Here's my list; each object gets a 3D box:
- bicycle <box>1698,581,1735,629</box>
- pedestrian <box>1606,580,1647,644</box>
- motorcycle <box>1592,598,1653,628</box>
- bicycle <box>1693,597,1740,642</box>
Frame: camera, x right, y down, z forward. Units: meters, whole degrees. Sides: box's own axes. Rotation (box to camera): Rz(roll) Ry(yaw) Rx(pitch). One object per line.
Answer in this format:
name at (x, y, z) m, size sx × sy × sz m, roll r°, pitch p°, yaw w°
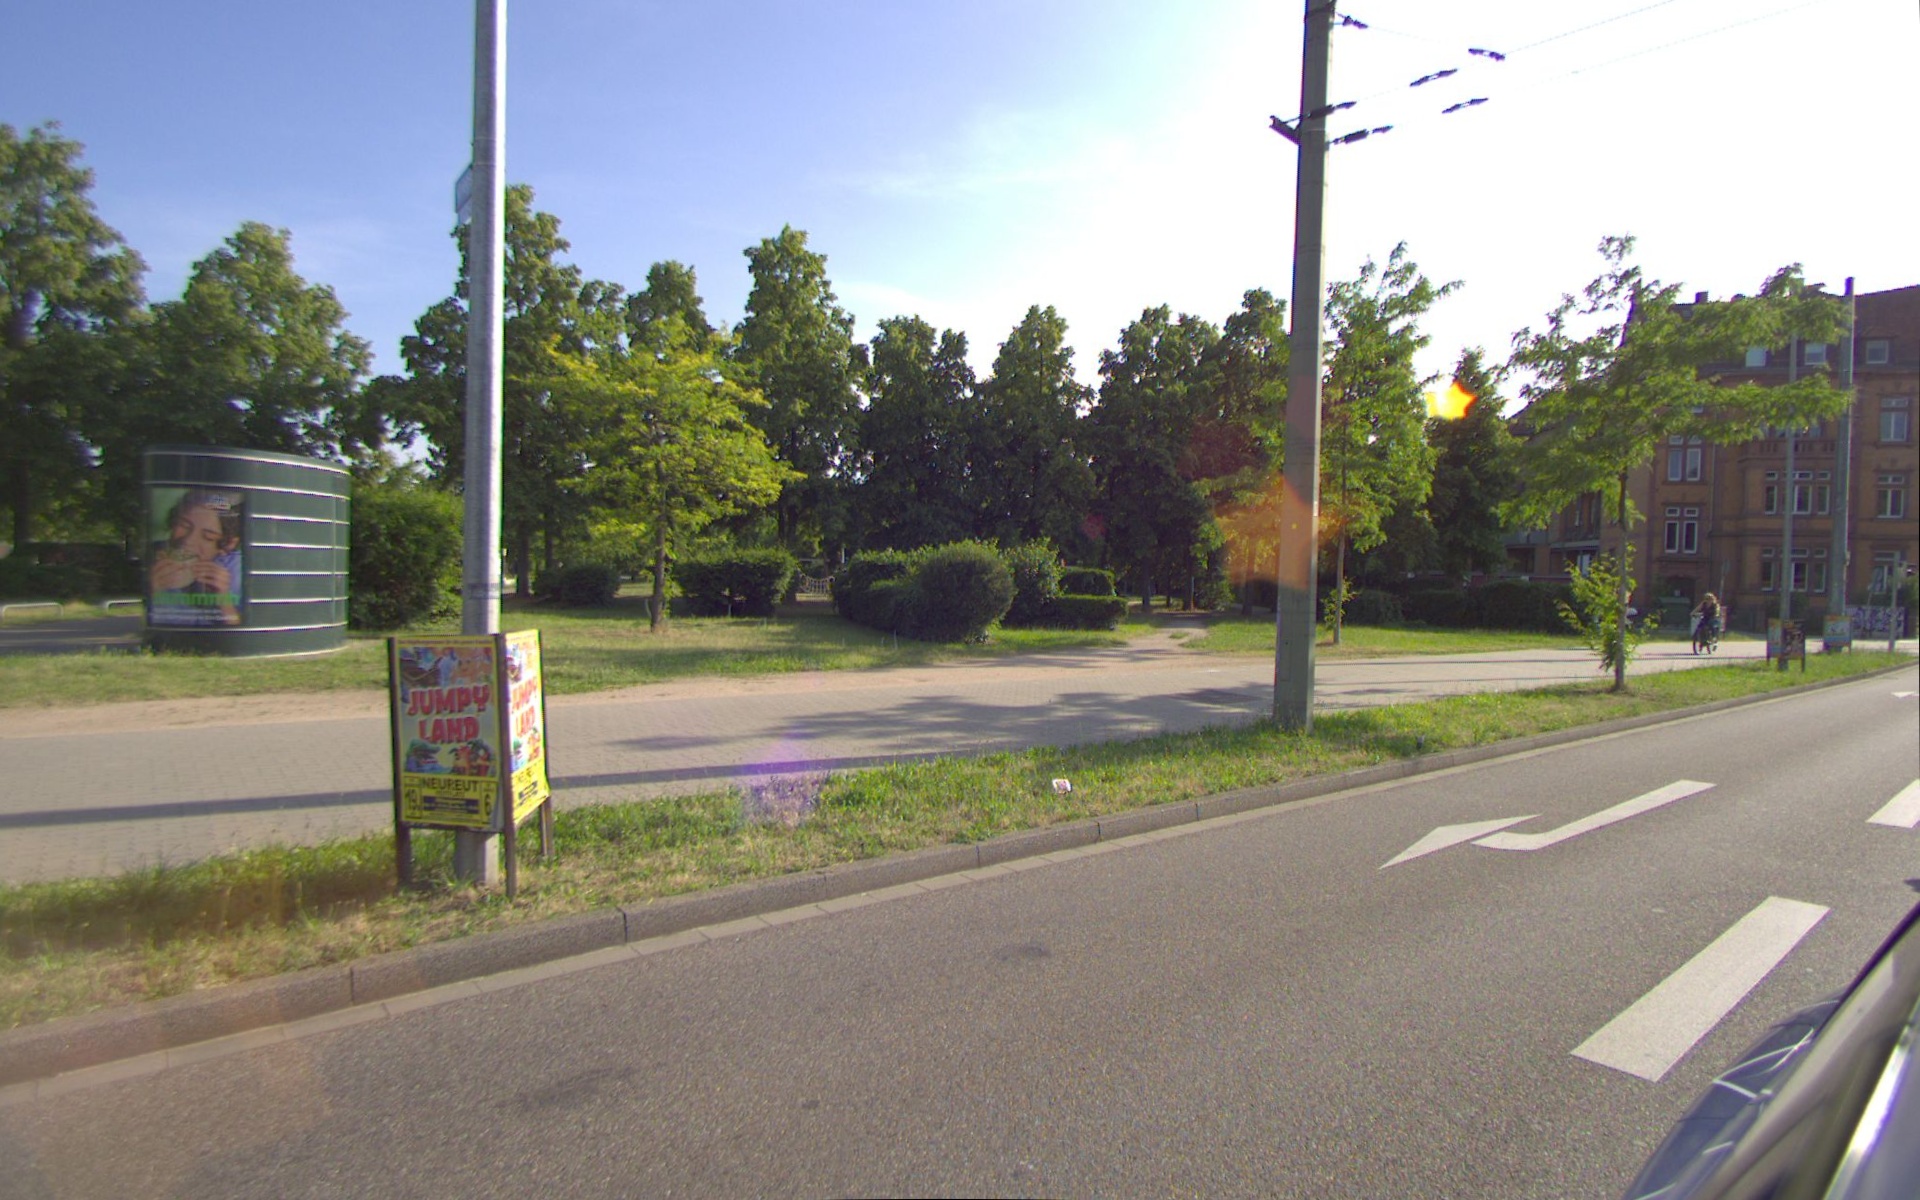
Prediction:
bicycle at (20.855, 0.133, 27.904) m, size 0.674 × 1.314 × 0.576 m, roll 1°, pitch 0°, yaw -26°
pedestrian at (18.538, 0.337, 28.151) m, size 0.538 × 1.711 × 0.617 m, roll 1°, pitch 6°, yaw -36°
motorcycle at (27.278, 0.526, 41.678) m, size 0.696 × 1.174 × 1.997 m, roll 1°, pitch 0°, yaw -45°
bicycle at (20.872, 0.543, 27.924) m, size 1.311 × 1.205 × 0.485 m, roll 1°, pitch 0°, yaw -26°
